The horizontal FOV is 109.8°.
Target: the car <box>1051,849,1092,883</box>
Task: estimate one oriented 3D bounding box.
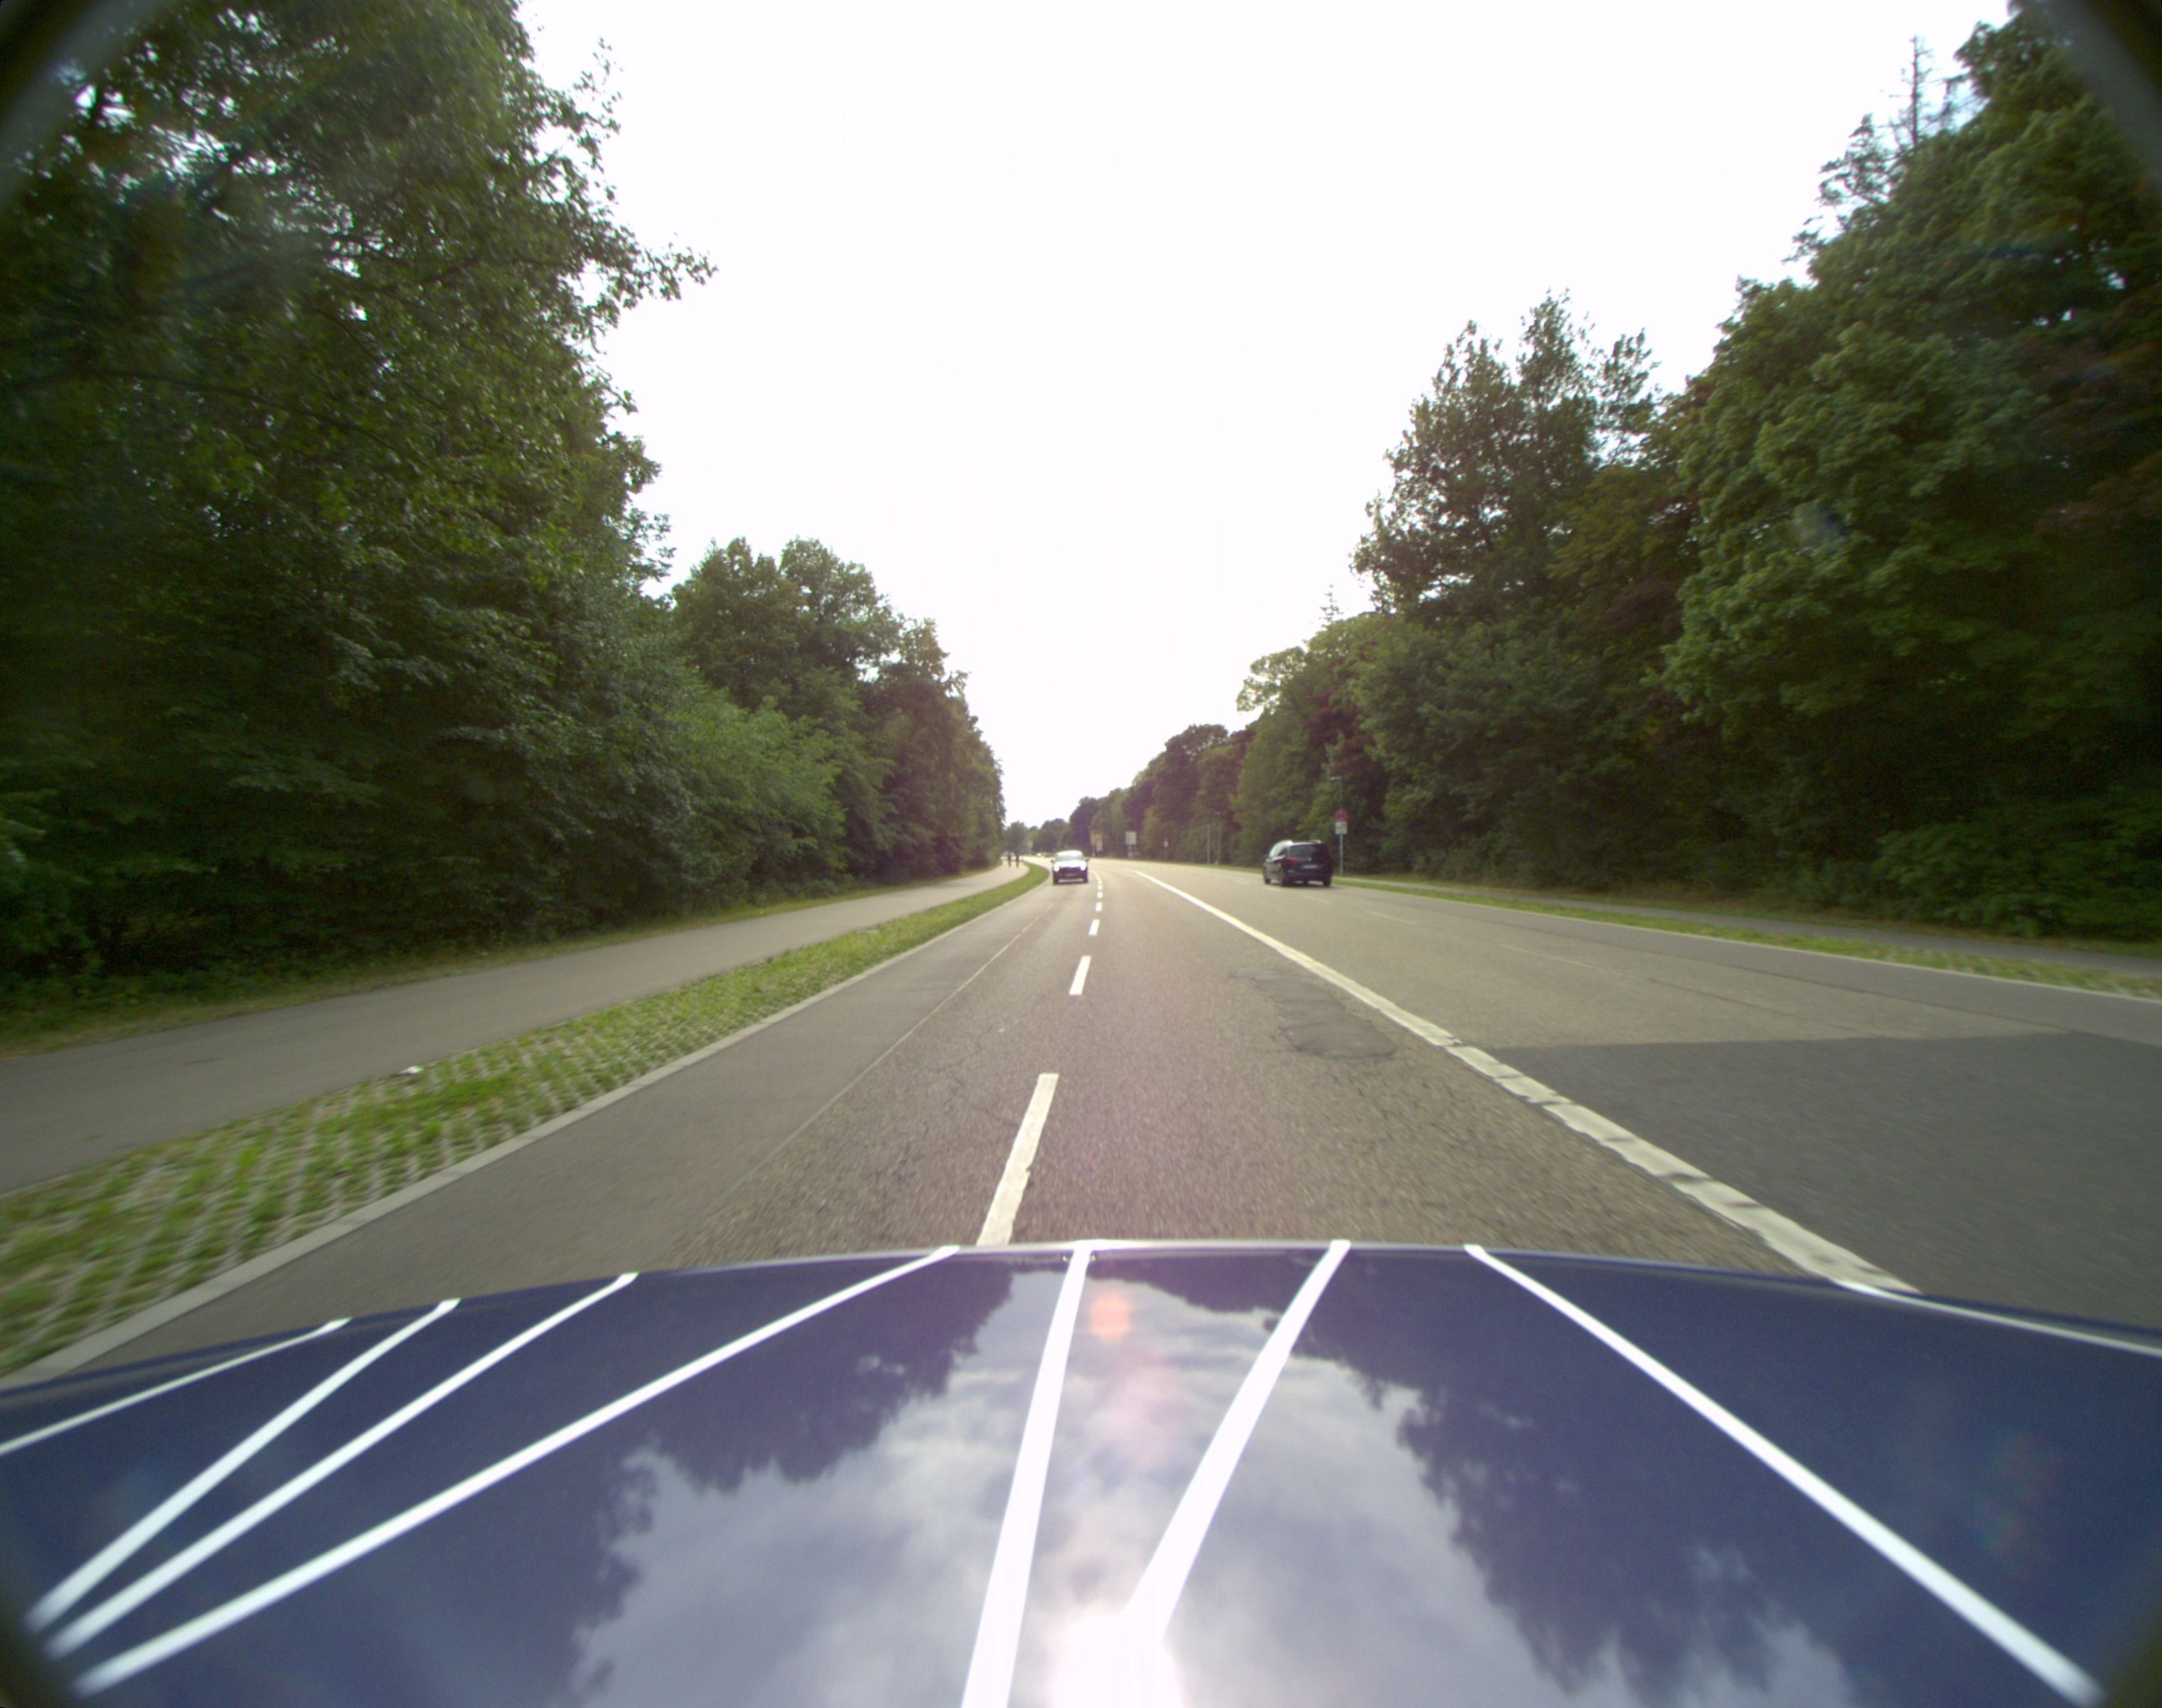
[{"bbox_3d":[-0.518,0.584,40.623,1.999,1.565,3.999,-3,1,-1],"label":"car"}]

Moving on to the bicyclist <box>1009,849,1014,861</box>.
[{"bbox_3d":[-8.253,0.085,90.461,0.521,1.407,1.185,-3,1,-7],"label":"bicyclist"}]

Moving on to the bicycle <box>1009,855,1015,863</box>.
[{"bbox_3d":[-8.235,0.613,90.440,0.567,0.906,1.886,1,-1,-7],"label":"bicycle"}]

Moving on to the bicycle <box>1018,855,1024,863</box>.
[{"bbox_3d":[-7.136,0.638,90.518,0.567,0.906,1.753,1,1,-7],"label":"bicycle"}]

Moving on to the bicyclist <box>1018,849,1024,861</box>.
[{"bbox_3d":[-7.152,0.079,90.543,0.521,1.407,1.185,-1,1,-7],"label":"bicyclist"}]

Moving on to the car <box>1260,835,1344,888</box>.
[{"bbox_3d":[8.470,0.219,29.622,1.998,1.781,4.747,-3,1,2],"label":"car"}]
